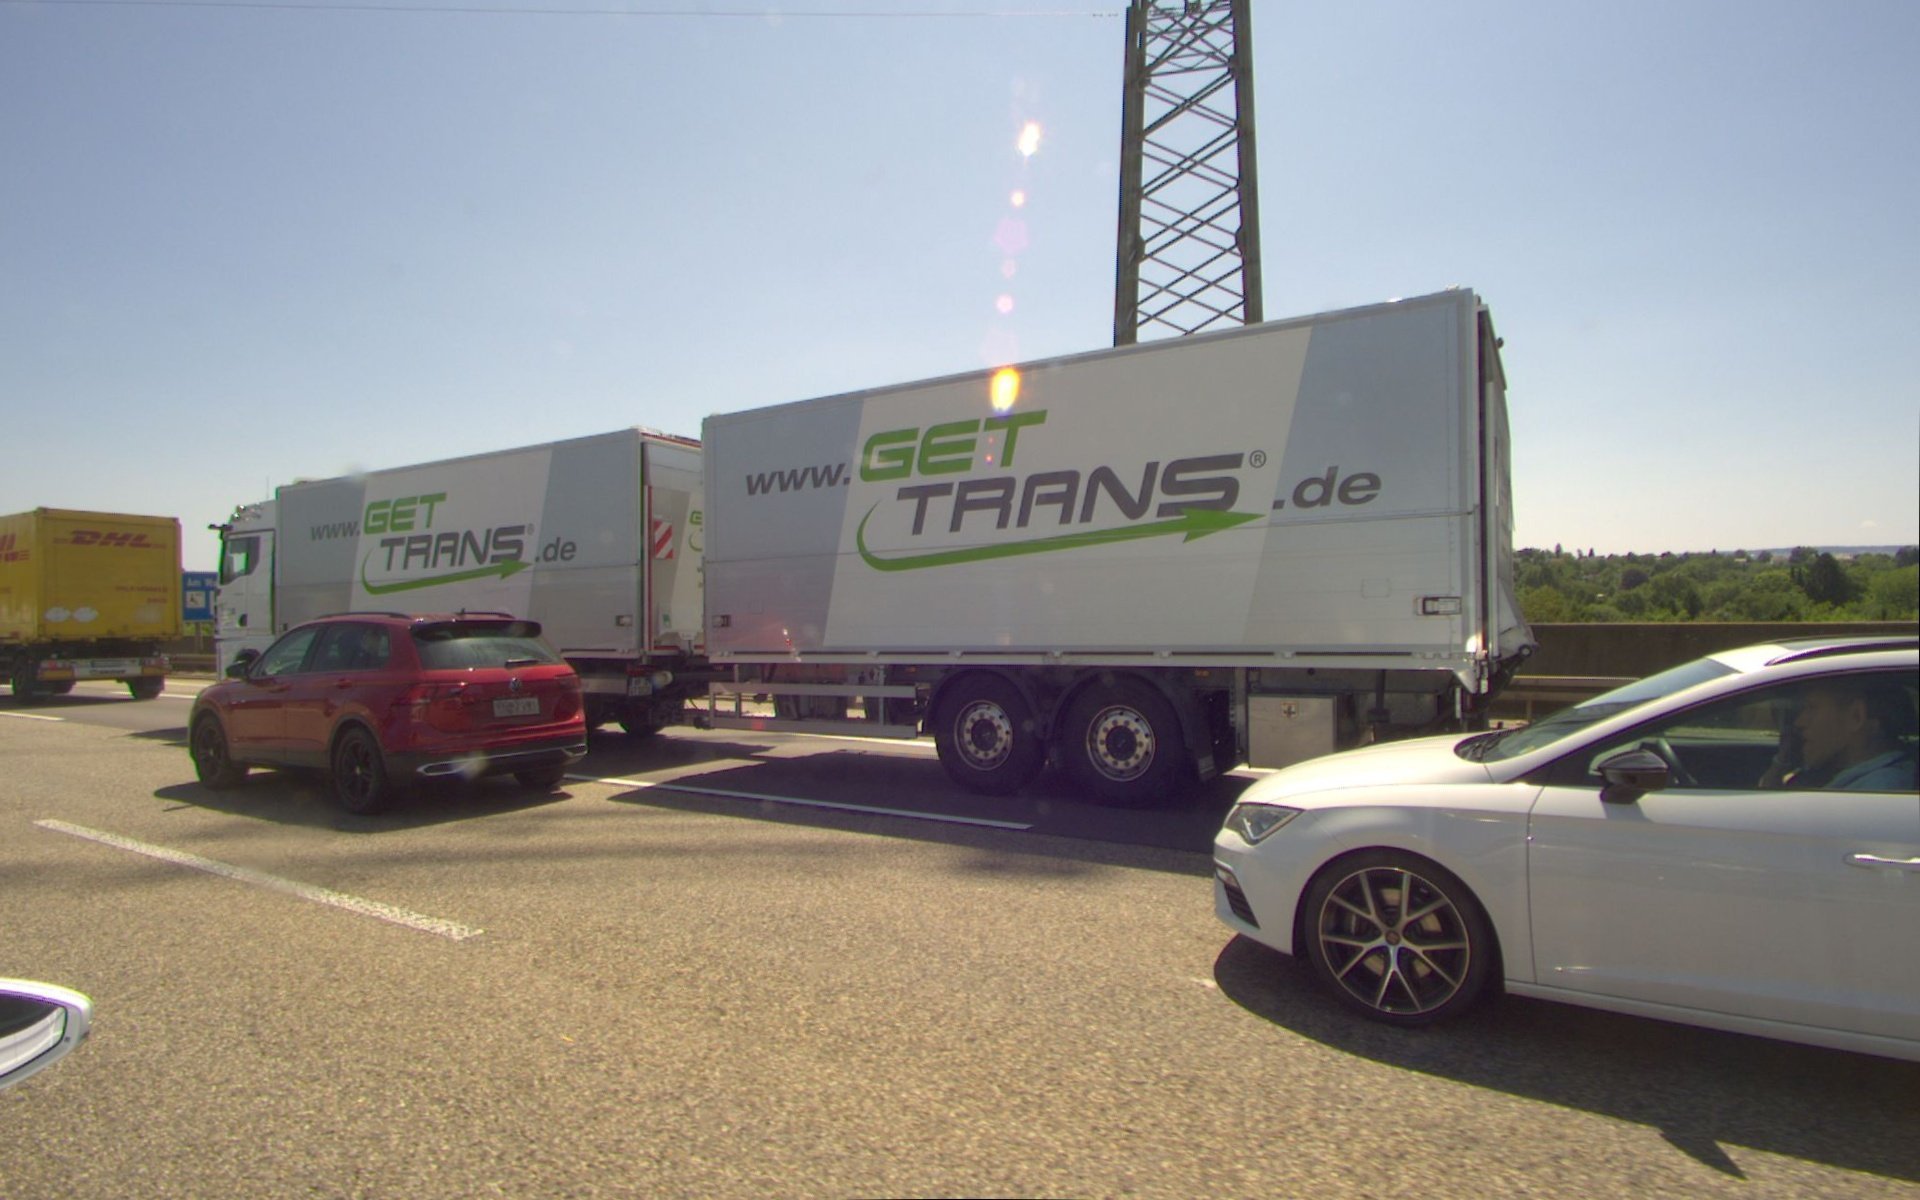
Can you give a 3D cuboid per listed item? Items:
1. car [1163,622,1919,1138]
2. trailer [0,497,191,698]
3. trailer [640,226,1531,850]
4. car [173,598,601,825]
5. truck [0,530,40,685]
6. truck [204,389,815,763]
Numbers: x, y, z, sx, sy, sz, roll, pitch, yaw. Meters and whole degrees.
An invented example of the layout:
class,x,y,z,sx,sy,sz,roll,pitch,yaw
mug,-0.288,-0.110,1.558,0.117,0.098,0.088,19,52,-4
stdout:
class,x,y,z,sx,sy,sz,roll,pitch,yaw
car,3.113,0.826,3.633,4.365,1.470,1.706,-1,-2,32
trailer,-22.063,0.112,24.017,8.850,4.139,2.679,-2,-2,31
trailer,0.787,-0.244,9.693,8.097,3.940,2.894,-2,-2,32
car,-5.441,0.913,9.358,4.224,1.700,1.705,-2,-2,32
truck,-30.065,0.309,28.787,9.796,4.139,2.696,-2,-2,31
truck,-7.064,-0.070,14.664,10.459,3.984,2.847,-2,-2,32
